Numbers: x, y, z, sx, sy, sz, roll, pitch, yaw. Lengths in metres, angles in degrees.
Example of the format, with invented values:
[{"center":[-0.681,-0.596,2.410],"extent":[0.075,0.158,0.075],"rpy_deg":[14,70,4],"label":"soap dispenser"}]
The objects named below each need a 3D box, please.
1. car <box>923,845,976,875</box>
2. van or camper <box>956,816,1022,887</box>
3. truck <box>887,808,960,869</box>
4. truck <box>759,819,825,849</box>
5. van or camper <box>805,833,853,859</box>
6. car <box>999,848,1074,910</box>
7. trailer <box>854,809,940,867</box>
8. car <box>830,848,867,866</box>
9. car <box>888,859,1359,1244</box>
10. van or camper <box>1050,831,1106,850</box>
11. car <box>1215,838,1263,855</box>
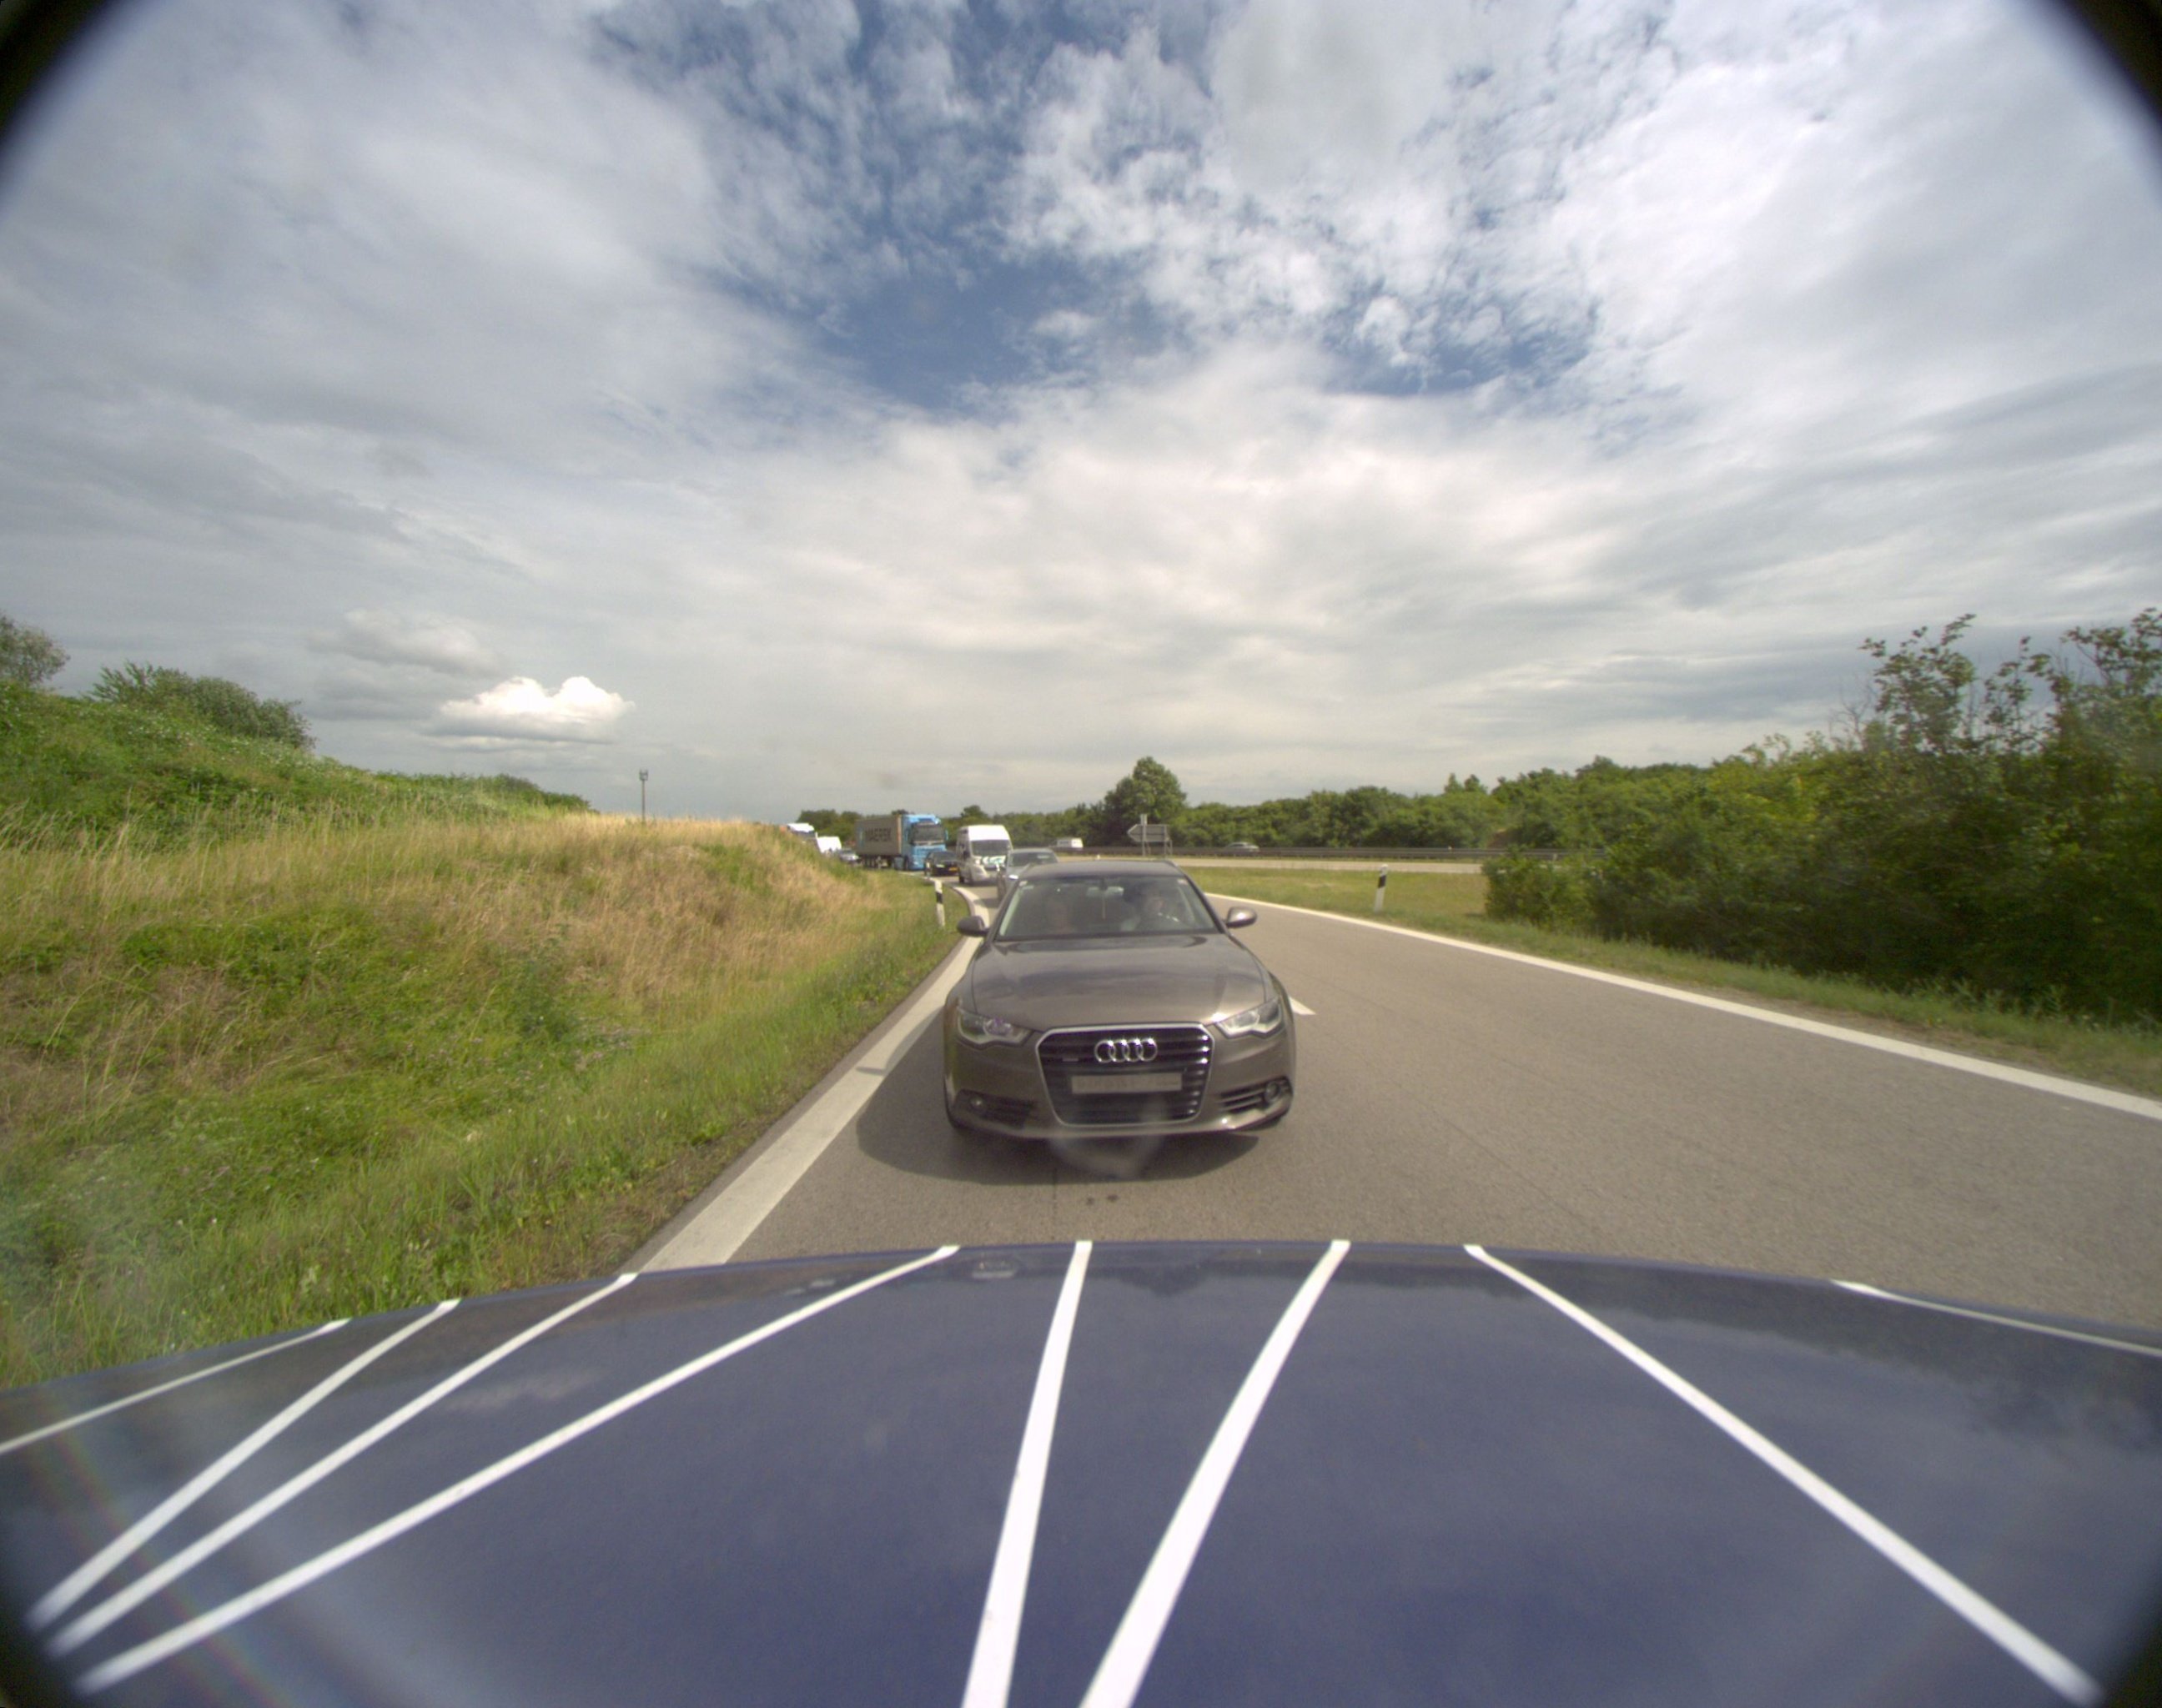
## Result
[{"center":[-7.776,0.298,44.653],"extent":[2.003,1.609,3.990],"rpy_deg":[-2,2,-27],"label":"car"},{"center":[-4.304,-0.152,34.740],"extent":[2.400,2.892,5.713],"rpy_deg":[-3,1,-12],"label":"van or camper"},{"center":[-11.390,-1.082,54.553],"extent":[3.184,4.050,6.631],"rpy_deg":[-3,2,-29],"label":"truck"},{"center":[-32.949,-2.173,86.173],"extent":[3.131,3.221,11.128],"rpy_deg":[-3,2,-42],"label":"truck"},{"center":[-24.931,-0.801,75.026],"extent":[2.558,2.200,5.692],"rpy_deg":[-4,6,-39],"label":"van or camper"},{"center":[-1.414,0.664,22.627],"extent":[1.844,1.587,4.170],"rpy_deg":[-1,1,-8],"label":"car"},{"center":[-14.906,-1.159,60.670],"extent":[3.280,4.138,11.988],"rpy_deg":[-3,1,-30],"label":"trailer"},{"center":[-21.491,0.242,70.183],"extent":[2.003,1.522,3.988],"rpy_deg":[-3,3,-37],"label":"car"},{"center":[0.171,0.872,5.563],"extent":[1.999,1.506,4.537],"rpy_deg":[-2,1,-1],"label":"car"},{"center":[-0.412,-1.615,88.142],"extent":[2.234,2.117,7.316],"rpy_deg":[-1,2,-41],"label":"van or camper"},{"center":[14.869,-0.726,71.559],"extent":[2.004,1.565,3.988],"rpy_deg":[0,2,-42],"label":"car"}]
